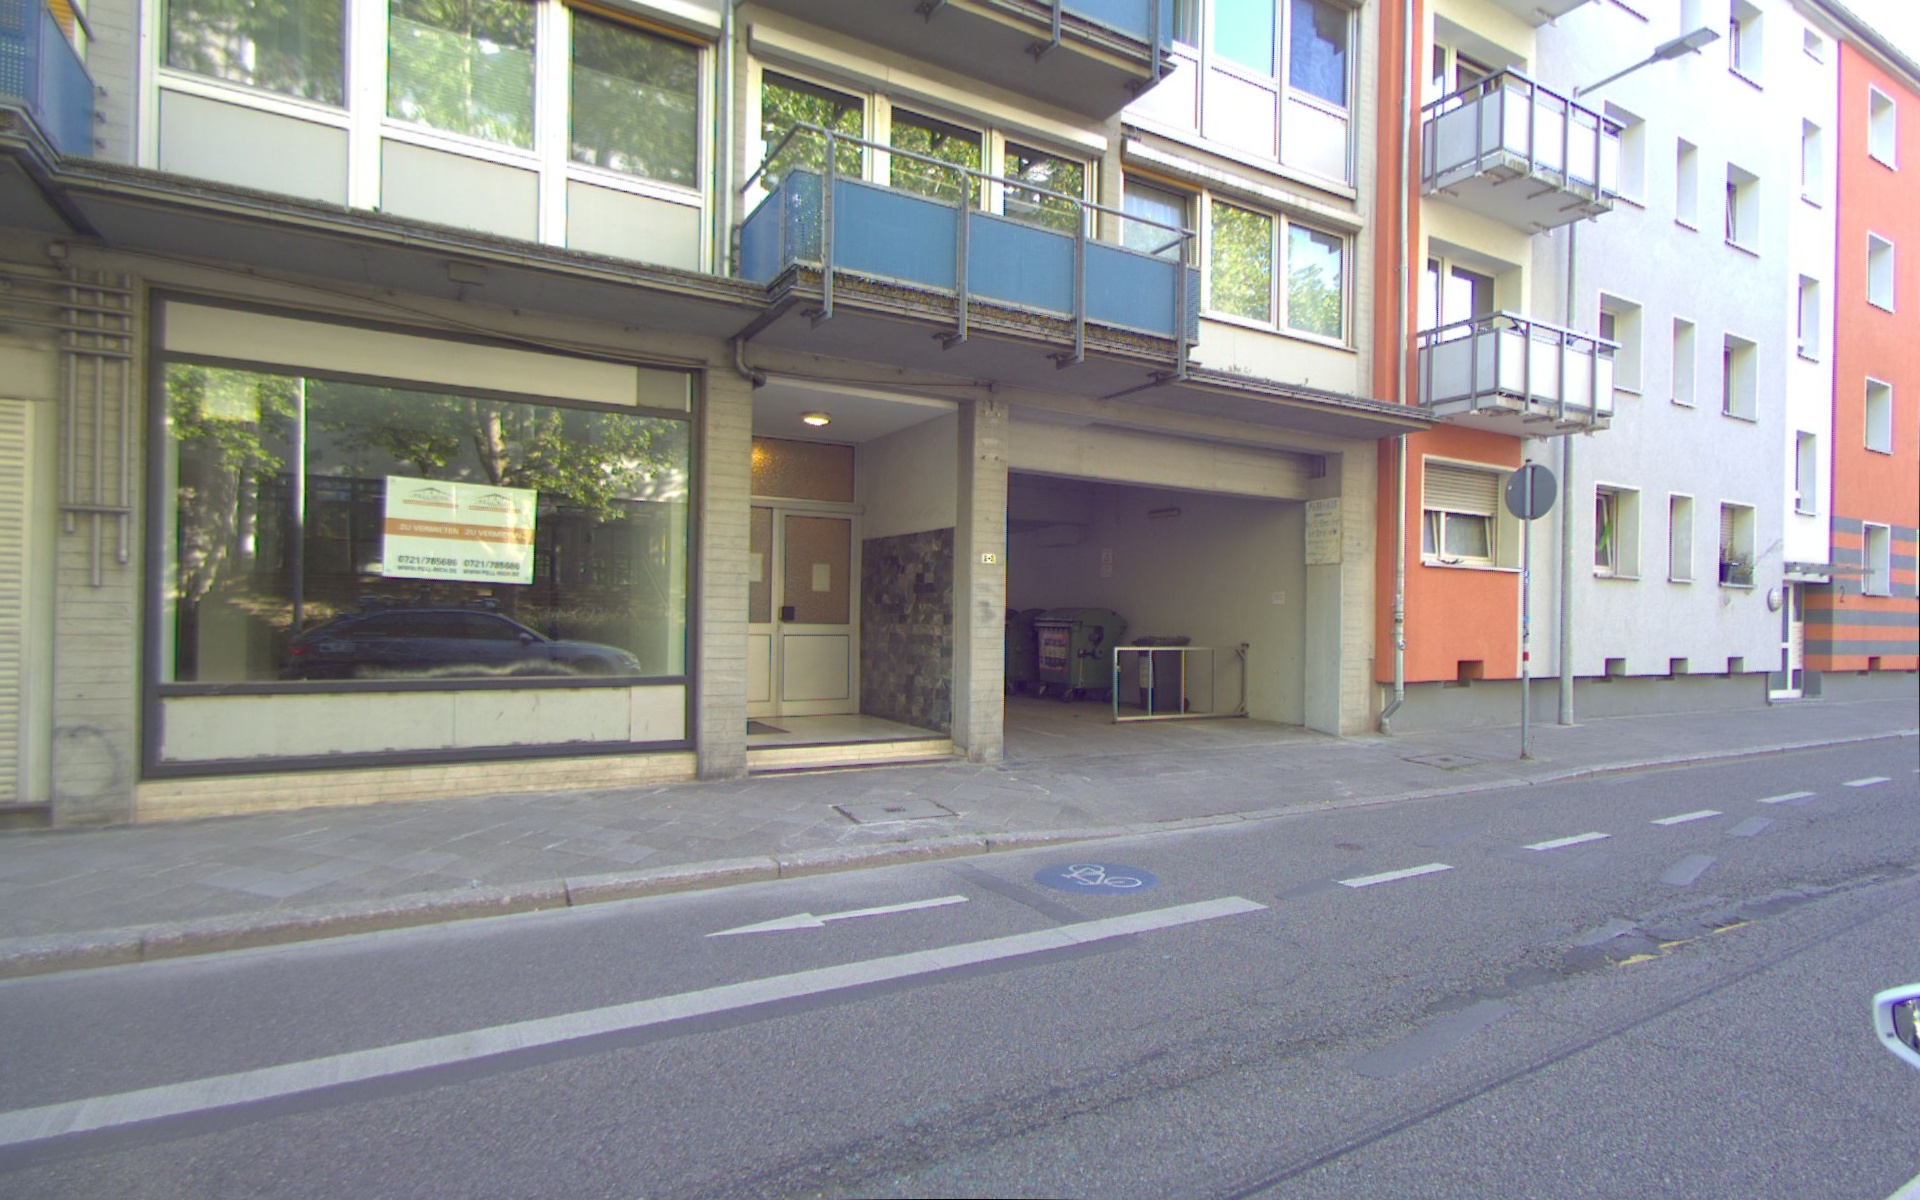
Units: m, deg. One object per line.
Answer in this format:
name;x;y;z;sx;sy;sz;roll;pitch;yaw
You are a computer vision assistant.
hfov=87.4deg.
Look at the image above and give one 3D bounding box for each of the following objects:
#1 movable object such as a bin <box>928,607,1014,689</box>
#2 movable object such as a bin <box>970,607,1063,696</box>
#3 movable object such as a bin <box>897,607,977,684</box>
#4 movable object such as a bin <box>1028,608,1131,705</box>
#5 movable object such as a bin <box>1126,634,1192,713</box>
movable object such as a bin;0.187;0.859;18.460;1.116;1.444;1.201;1;0;-30
movable object such as a bin;0.957;0.853;17.162;1.116;1.444;1.201;1;0;-30
movable object such as a bin;-0.461;0.865;19.609;1.116;1.444;1.201;1;0;-30
movable object such as a bin;1.869;0.859;15.803;1.116;1.444;1.201;1;0;-30
movable object such as a bin;2.866;1.042;14.492;0.667;1.079;0.639;1;0;-30
